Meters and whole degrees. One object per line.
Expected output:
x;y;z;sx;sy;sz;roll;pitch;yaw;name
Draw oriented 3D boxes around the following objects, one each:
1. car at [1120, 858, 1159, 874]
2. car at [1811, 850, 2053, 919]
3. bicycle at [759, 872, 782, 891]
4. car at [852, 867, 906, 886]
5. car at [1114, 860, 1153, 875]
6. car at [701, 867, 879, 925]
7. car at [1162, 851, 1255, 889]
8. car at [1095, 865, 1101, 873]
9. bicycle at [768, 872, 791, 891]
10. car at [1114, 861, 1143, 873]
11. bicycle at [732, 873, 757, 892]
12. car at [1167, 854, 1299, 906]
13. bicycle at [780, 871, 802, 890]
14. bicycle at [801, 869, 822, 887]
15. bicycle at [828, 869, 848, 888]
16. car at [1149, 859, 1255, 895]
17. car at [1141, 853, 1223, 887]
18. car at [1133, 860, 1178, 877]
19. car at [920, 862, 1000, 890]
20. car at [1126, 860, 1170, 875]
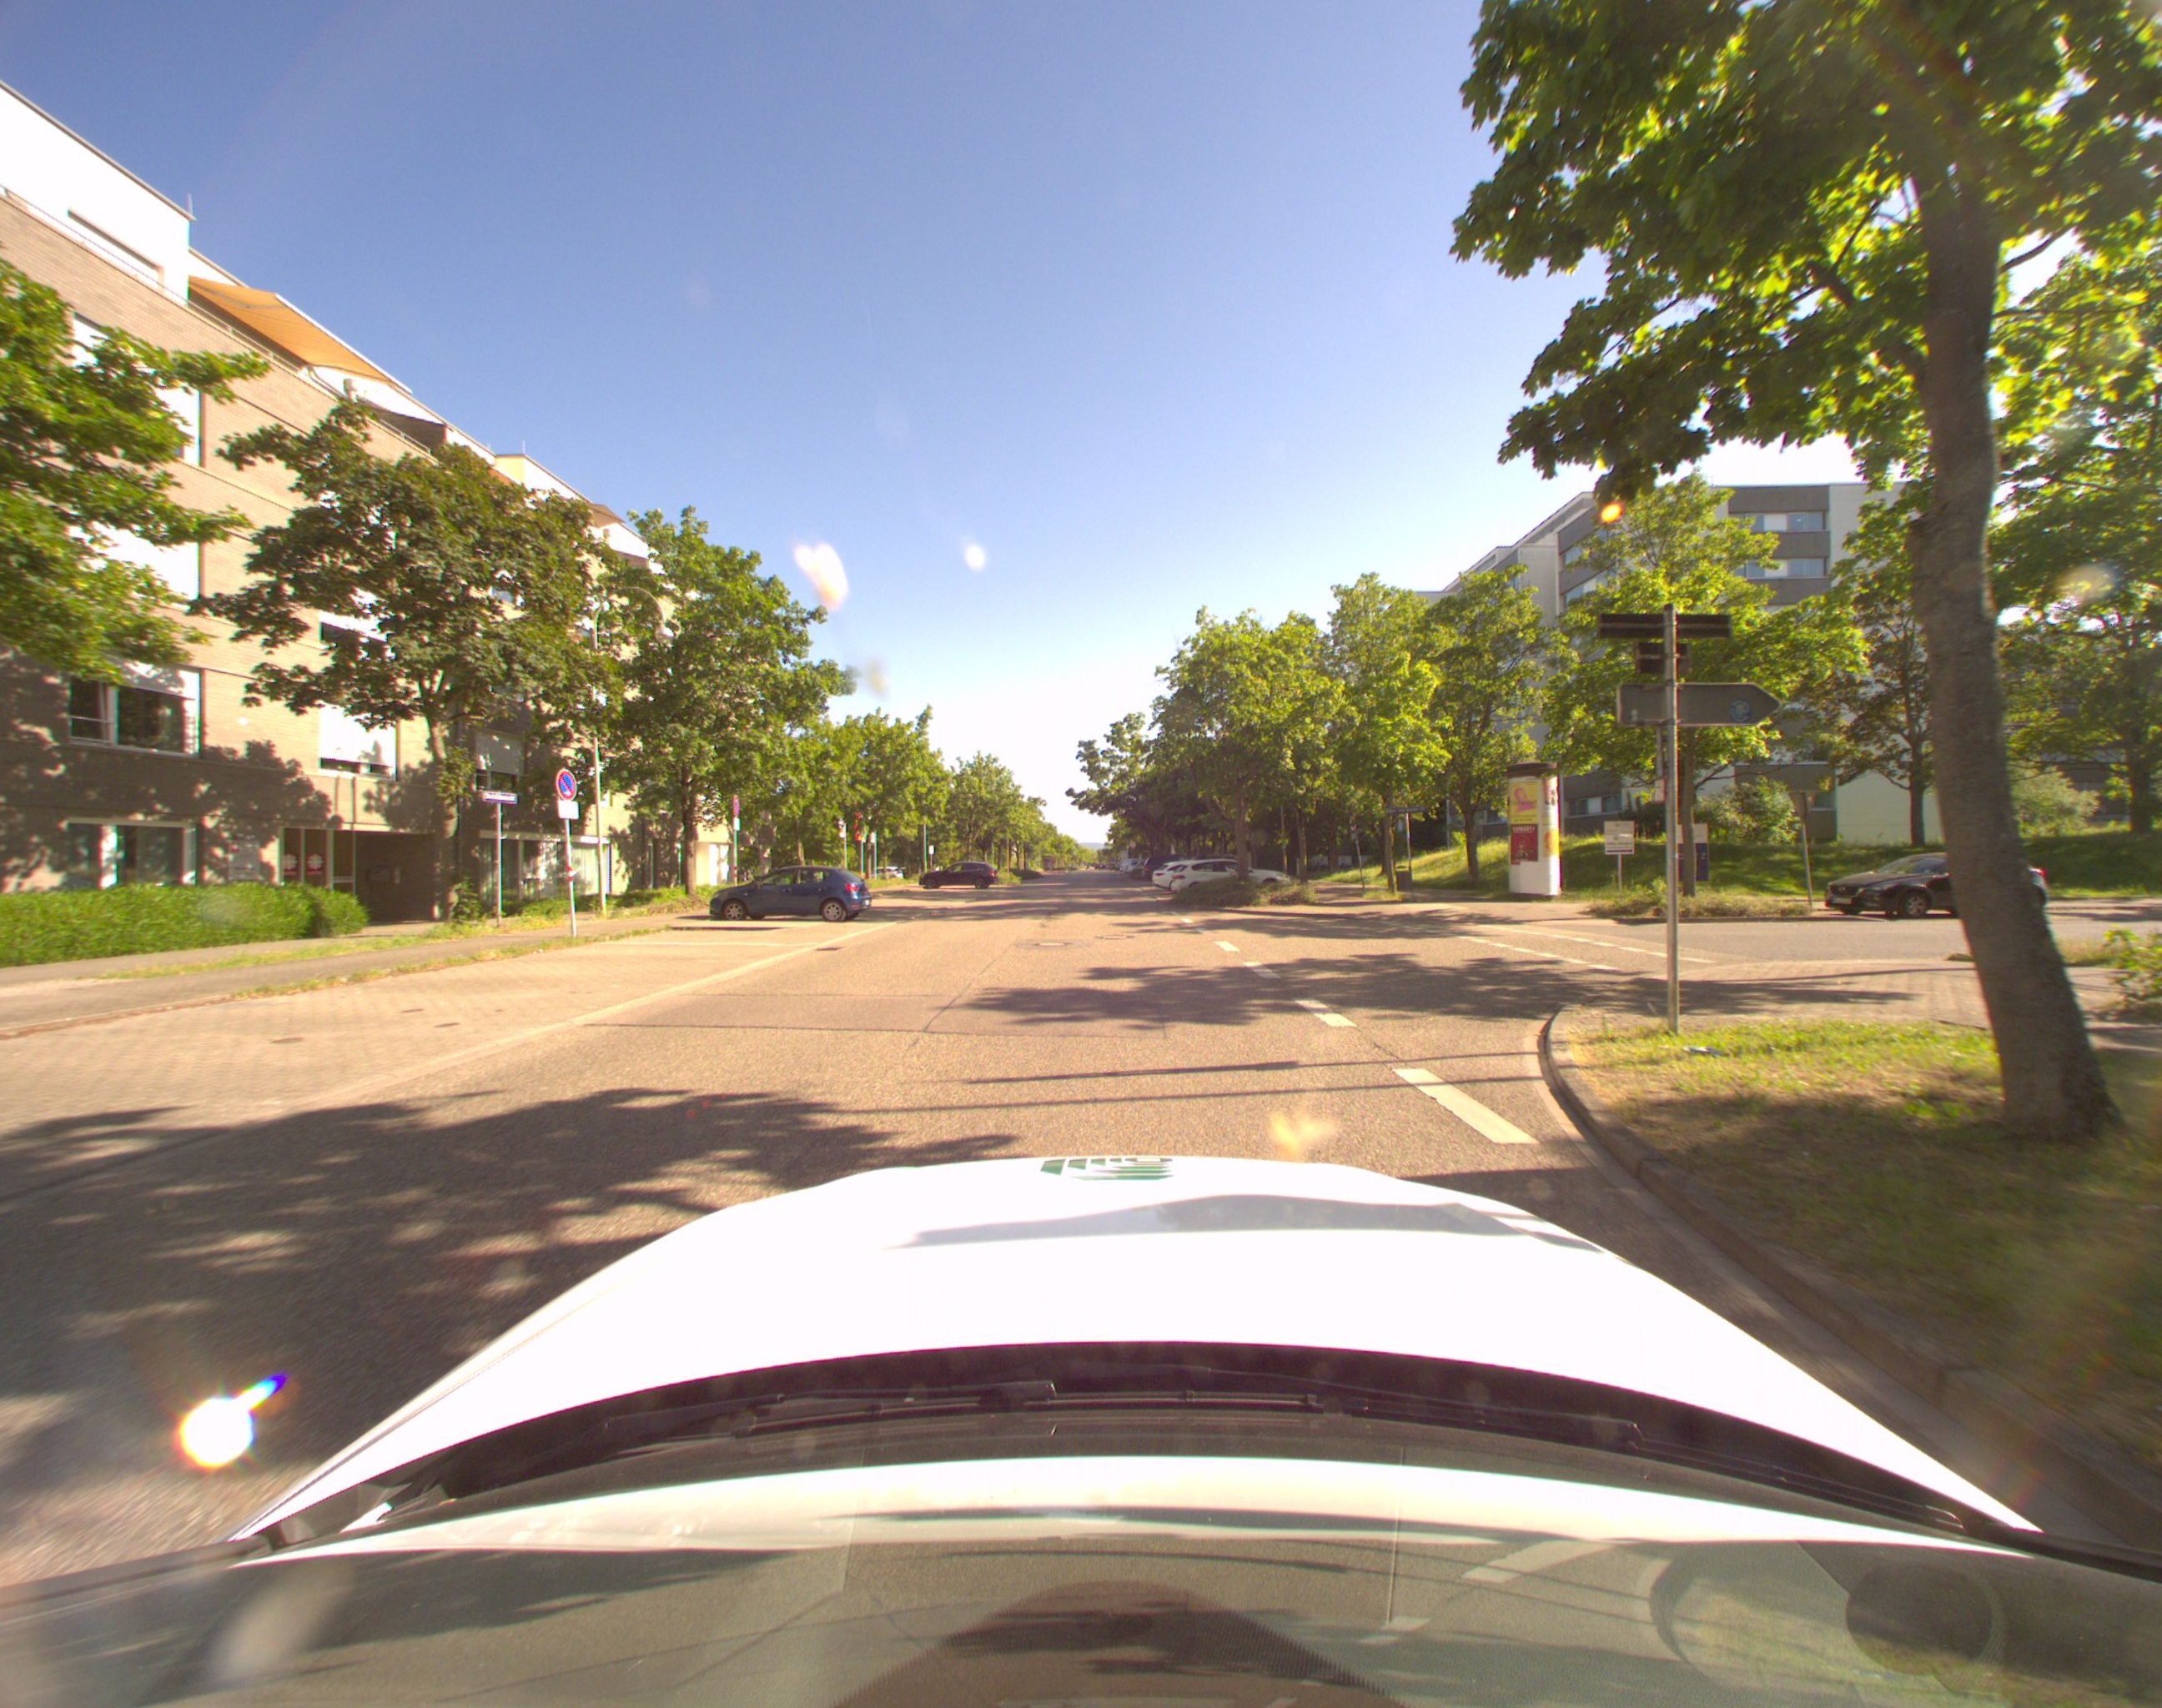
7.010;1.451;97.160;4.422;1.647;1.815;-4;-1;-1;car
20.490;0.714;19.729;3.974;1.530;1.834;-1;0;-1;car
-18.029;1.588;47.287;0.435;1.047;2.193;0;-1;2;bicycle
-17.252;1.899;69.602;4.061;1.451;1.625;-3;-1;2;car
6.124;1.558;94.466;4.330;1.489;1.737;-3;-1;-1;car
-7.463;1.050;21.209;3.977;1.412;1.815;0;-1;-3;car
6.057;0.782;39.065;4.106;1.618;1.733;-3;-2;-1;car
5.150;4.558;245.537;1.986;2.013;4.002;0;1;2;car
-17.494;1.575;47.280;0.435;1.047;2.193;0;-1;2;bicycle
6.912;1.919;118.826;4.150;1.428;2.000;-4;-1;0;car
-19.504;1.646;47.227;0.435;1.047;2.193;0;-1;2;bicycle
5.522;0.934;29.941;4.415;1.593;1.835;-3;-1;-2;car
-16.703;1.506;47.000;0.435;1.047;2.193;0;-1;2;bicycle
-16.068;1.418;48.595;0.435;1.047;2.193;0;-1;2;bicycle
-14.035;1.398;47.037;0.435;1.047;2.193;0;-1;2;bicycle
5.313;1.011;36.081;4.430;1.545;1.816;0;-1;-2;car
5.912;0.932;48.059;4.570;1.779;2.000;-3;-1;1;car
6.923;1.345;75.748;3.973;1.451;1.717;-3;-1;1;car
-6.758;1.233;45.827;4.177;1.520;1.772;0;-1;1;car
6.600;1.344;80.463;4.253;1.428;1.830;-1;-1;5;car
